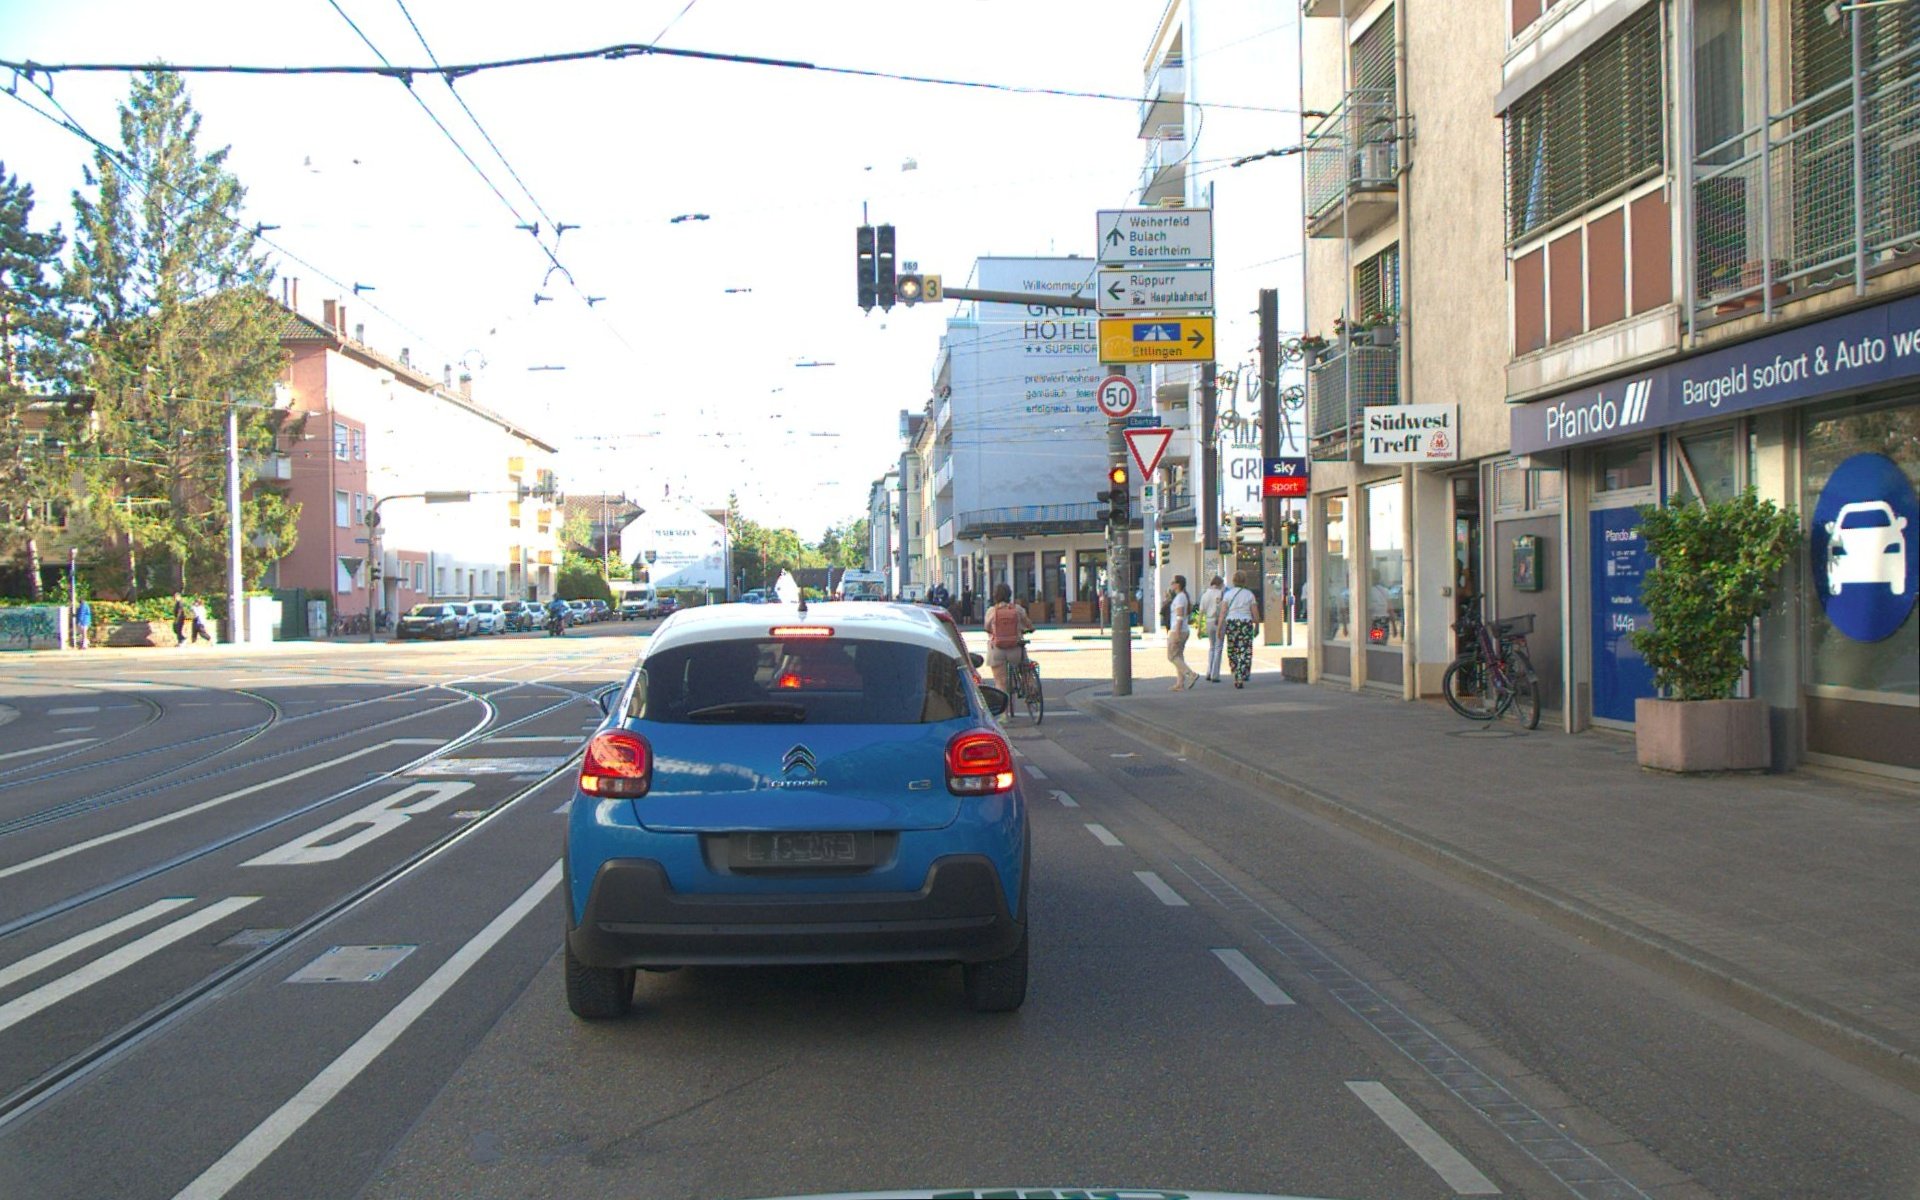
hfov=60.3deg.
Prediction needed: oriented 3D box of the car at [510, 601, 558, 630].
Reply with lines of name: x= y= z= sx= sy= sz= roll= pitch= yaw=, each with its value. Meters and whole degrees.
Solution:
car: x=-23.603 y=0.824 z=91.722 sx=1.874 sy=1.523 sz=3.996 roll=-1 pitch=0 yaw=-5

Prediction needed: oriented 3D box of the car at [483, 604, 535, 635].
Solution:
car: x=-23.321 y=0.989 z=85.588 sx=1.874 sy=1.523 sz=3.996 roll=-1 pitch=0 yaw=-5

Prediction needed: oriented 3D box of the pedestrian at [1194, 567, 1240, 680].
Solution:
pedestrian: x=3.982 y=0.359 z=25.654 sx=0.530 sy=1.701 sz=0.624 roll=-3 pitch=2 yaw=-3

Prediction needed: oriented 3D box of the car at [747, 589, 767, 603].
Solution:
car: x=-22.954 y=-0.426 z=187.085 sx=1.982 sy=1.552 sz=3.996 roll=-1 pitch=0 yaw=-5

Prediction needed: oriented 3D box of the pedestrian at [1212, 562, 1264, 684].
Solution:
pedestrian: x=3.963 y=0.319 z=23.629 sx=0.530 sy=1.701 sz=0.650 roll=-3 pitch=0 yaw=-3

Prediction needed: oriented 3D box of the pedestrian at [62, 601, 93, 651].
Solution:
pedestrian: x=-29.590 y=0.862 z=55.442 sx=0.840 sy=1.654 sz=0.509 roll=-1 pitch=0 yaw=-34

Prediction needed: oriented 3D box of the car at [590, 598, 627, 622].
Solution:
car: x=-25.720 y=0.728 z=121.183 sx=1.990 sy=1.647 sz=4.508 roll=-1 pitch=0 yaw=-3

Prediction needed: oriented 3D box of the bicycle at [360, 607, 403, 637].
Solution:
bicycle: x=-25.716 y=0.963 z=73.589 sx=0.831 sy=1.247 sz=3.302 roll=-1 pitch=0 yaw=-2

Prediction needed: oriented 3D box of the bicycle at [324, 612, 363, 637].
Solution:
bicycle: x=-25.086 y=0.989 z=67.350 sx=0.718 sy=0.968 sz=2.596 roll=-1 pitch=0 yaw=-2

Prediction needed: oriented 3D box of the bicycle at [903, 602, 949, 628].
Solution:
bicycle: x=-1.363 y=0.600 z=67.018 sx=1.835 sy=0.973 sz=0.702 roll=-1 pitch=0 yaw=1

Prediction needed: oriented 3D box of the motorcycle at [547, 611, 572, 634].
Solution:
motorcycle: x=-16.226 y=0.898 z=67.017 sx=0.603 sy=0.879 sz=1.670 roll=-1 pitch=0 yaw=-1

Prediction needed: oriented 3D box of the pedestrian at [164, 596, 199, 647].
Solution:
pedestrian: x=-26.796 y=0.745 z=56.952 sx=0.828 sy=1.720 sz=0.735 roll=-1 pitch=0 yaw=32

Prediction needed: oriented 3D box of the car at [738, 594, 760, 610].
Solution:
car: x=-21.531 y=0.161 z=169.066 sx=1.982 sy=1.552 sz=3.996 roll=-1 pitch=0 yaw=-5

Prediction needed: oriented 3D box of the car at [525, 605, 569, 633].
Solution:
car: x=-24.267 y=1.101 z=97.283 sx=1.874 sy=1.523 sz=3.996 roll=-1 pitch=0 yaw=-5

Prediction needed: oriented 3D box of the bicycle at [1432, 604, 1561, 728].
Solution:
bicycle: x=5.106 y=0.600 z=15.854 sx=0.519 sy=1.091 sz=1.809 roll=-1 pitch=0 yaw=-4

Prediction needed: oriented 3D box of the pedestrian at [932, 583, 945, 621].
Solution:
pedestrian: x=-0.905 y=0.086 z=69.917 sx=0.482 sy=1.583 sz=0.383 roll=-1 pitch=0 yaw=-4

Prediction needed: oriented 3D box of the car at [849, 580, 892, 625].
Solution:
car: x=-3.665 y=0.104 z=67.459 sx=1.698 sy=1.780 sz=3.211 roll=0 pitch=0 yaw=-4

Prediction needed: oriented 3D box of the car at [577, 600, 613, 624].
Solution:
car: x=-25.513 y=0.817 z=115.760 sx=1.833 sy=1.601 sz=3.997 roll=-1 pitch=0 yaw=-4

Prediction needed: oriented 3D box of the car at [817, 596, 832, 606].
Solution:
car: x=-17.473 y=0.113 z=213.209 sx=1.722 sy=1.281 sz=3.826 roll=-1 pitch=0 yaw=-8

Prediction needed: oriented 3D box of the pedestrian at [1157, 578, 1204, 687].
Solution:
pedestrian: x=3.217 y=0.468 z=24.162 sx=0.530 sy=1.534 sz=0.611 roll=-3 pitch=2 yaw=-3

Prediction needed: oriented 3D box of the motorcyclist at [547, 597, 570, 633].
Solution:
motorcyclist: x=-16.219 y=0.606 z=66.862 sx=0.704 sy=1.402 sz=0.911 roll=-1 pitch=0 yaw=-1

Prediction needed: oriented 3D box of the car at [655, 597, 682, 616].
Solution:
car: x=-25.374 y=0.573 z=144.090 sx=1.982 sy=1.552 sz=3.996 roll=-1 pitch=0 yaw=-5

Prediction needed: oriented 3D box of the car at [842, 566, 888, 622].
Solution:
car: x=-4.162 y=-0.241 z=72.367 sx=1.954 sy=2.366 sz=3.997 roll=0 pitch=0 yaw=-4

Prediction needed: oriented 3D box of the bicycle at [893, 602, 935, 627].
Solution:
bicycle: x=-1.897 y=0.606 z=68.369 sx=1.684 sy=0.973 sz=0.702 roll=-1 pitch=0 yaw=1

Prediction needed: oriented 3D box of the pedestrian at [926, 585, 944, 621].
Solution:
pedestrian: x=-1.099 y=0.129 z=72.629 sx=0.637 sy=1.583 sz=0.490 roll=-1 pitch=0 yaw=-23

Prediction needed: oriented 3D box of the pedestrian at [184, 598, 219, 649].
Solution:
pedestrian: x=-25.859 y=0.789 z=56.360 sx=0.828 sy=1.720 sz=0.735 roll=-1 pitch=0 yaw=33

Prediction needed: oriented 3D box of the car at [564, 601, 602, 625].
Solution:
car: x=-25.195 y=0.863 z=110.672 sx=1.874 sy=1.523 sz=3.996 roll=-1 pitch=0 yaw=-5

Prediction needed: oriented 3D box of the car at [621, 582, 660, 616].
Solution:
car: x=-22.945 y=-0.081 z=118.950 sx=2.164 sy=2.290 sz=4.672 roll=-1 pitch=0 yaw=-5

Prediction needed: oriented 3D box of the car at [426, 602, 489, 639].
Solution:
car: x=-22.505 y=0.888 z=74.195 sx=1.874 sy=1.523 sz=3.996 roll=-1 pitch=0 yaw=-5

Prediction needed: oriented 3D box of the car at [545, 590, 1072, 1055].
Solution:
car: x=-0.707 y=0.709 z=7.395 sx=1.710 sy=1.488 sz=3.994 roll=0 pitch=0 yaw=-7

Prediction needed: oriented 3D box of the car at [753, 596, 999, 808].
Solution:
car: x=-0.618 y=0.713 z=13.619 sx=1.703 sy=1.445 sz=3.999 roll=-1 pitch=0 yaw=-1

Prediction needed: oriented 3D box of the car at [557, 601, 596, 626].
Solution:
car: x=-24.468 y=0.854 z=105.684 sx=1.874 sy=1.523 sz=3.996 roll=-1 pitch=0 yaw=-5

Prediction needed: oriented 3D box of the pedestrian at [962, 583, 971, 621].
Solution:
pedestrian: x=0.280 y=0.080 z=70.141 sx=0.279 sy=1.583 sz=0.304 roll=-1 pitch=0 yaw=-10

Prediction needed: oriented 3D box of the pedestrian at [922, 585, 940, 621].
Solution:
pedestrian: x=-1.304 y=0.133 z=74.430 sx=0.637 sy=1.583 sz=0.490 roll=-1 pitch=0 yaw=-23

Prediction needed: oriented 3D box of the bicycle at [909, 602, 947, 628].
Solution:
bicycle: x=-1.258 y=0.600 z=65.960 sx=1.473 sy=0.973 sz=0.702 roll=-1 pitch=0 yaw=1

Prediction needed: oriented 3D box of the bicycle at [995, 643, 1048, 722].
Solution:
bicycle: x=0.753 y=1.007 z=20.595 sx=0.489 sy=0.879 sz=1.748 roll=-1 pitch=0 yaw=-3

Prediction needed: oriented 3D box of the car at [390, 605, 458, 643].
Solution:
car: x=-22.147 y=0.962 z=68.473 sx=1.874 sy=1.458 sz=3.995 roll=-1 pitch=0 yaw=-6

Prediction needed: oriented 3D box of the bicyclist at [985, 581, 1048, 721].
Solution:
bicyclist: x=0.689 y=0.609 z=20.285 sx=0.711 sy=1.674 sz=0.790 roll=-1 pitch=0 yaw=-1

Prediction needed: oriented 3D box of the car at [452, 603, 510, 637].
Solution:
car: x=-22.783 y=0.920 z=78.814 sx=1.874 sy=1.523 sz=3.996 roll=-1 pitch=0 yaw=-5
